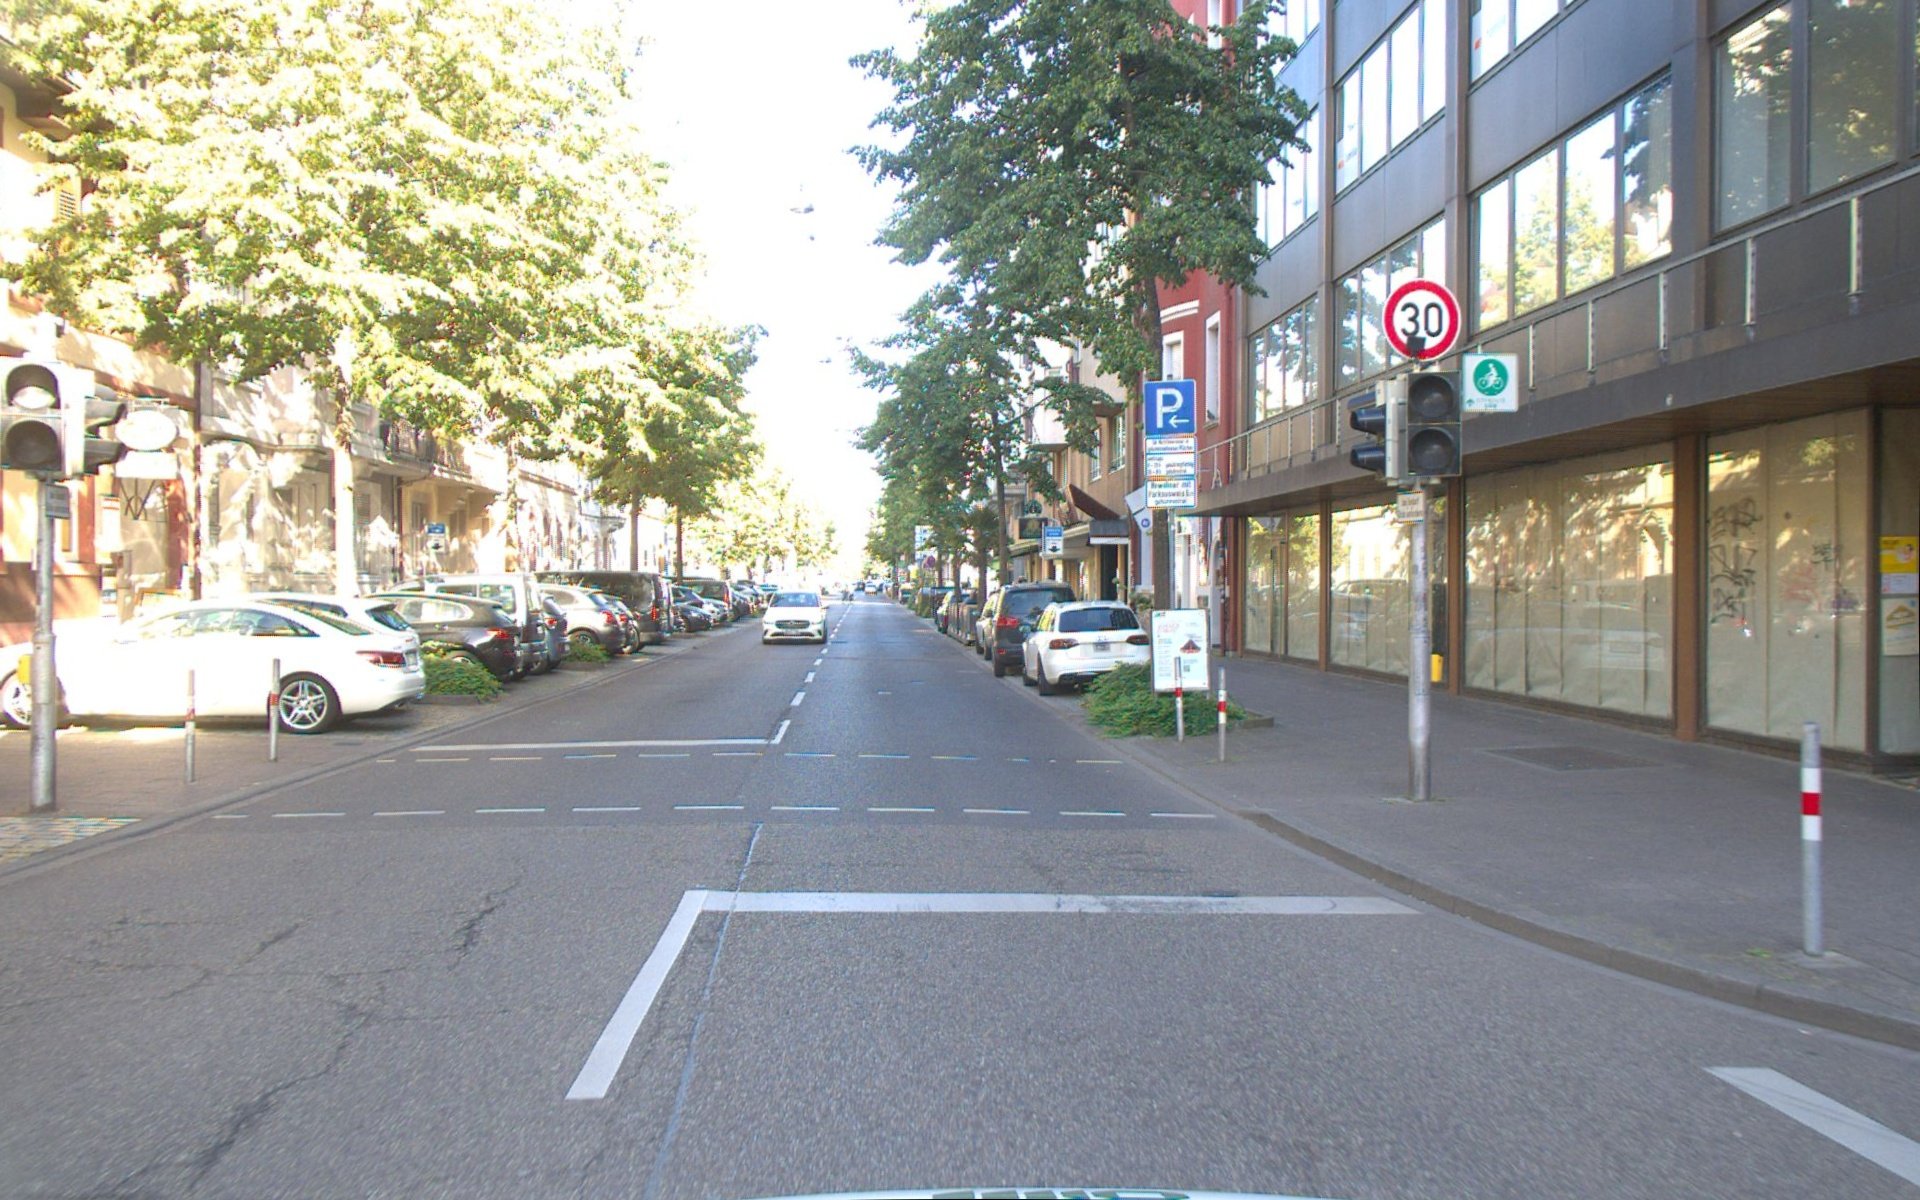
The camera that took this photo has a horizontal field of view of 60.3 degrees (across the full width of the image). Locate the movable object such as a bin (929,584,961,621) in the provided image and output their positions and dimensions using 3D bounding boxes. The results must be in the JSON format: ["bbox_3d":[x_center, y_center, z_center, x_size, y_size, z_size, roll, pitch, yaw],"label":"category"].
[{"bbox_3d":[-0.642,0.100,70.049,1.304,1.569,1.145,-1,0,-3],"label":"movable object such as a bin"}]

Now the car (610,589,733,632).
[{"bbox_3d":[-11.007,0.387,63.343,4.374,1.568,1.916,0,0,0],"label":"car"}]

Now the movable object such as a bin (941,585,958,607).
[{"bbox_3d":[-0.787,-0.314,125.753,1.182,1.656,1.497,-1,0,-5],"label":"movable object such as a bin"}]

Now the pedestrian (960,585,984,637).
[{"bbox_3d":[0.356,0.326,50.448,0.637,1.563,0.979,-1,0,-5],"label":"pedestrian"}]

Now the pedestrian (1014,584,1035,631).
[{"bbox_3d":[2.358,0.270,60.543,0.499,1.725,0.621,-1,0,-40],"label":"pedestrian"}]

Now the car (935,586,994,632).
[{"bbox_3d":[0.115,0.284,59.195,1.786,1.497,4.908,-3,1,-3],"label":"car"}]

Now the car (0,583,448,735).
[{"bbox_3d":[-8.249,0.638,18.314,4.611,1.518,1.996,1,-1,-8],"label":"car"}]

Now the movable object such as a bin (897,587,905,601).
[{"bbox_3d":[-5.159,-0.518,145.184,0.609,1.200,0.711,0,1,-6],"label":"movable object such as a bin"}]

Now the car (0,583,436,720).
[{"bbox_3d":[-9.104,0.620,20.592,4.611,1.518,1.997,1,1,-8],"label":"car"}]

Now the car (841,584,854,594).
[{"bbox_3d":[-17.055,-1.664,250.826,1.767,1.460,4.406,-3,1,-4],"label":"car"}]

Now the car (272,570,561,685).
[{"bbox_3d":[-9.125,0.453,28.020,4.251,1.856,1.929,0,0,-2],"label":"car"}]

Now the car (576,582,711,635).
[{"bbox_3d":[-10.701,0.265,56.131,4.253,1.739,1.915,0,0,-4],"label":"car"}]

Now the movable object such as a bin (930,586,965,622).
[{"bbox_3d":[-0.528,0.148,68.891,1.371,1.479,1.145,-1,1,-4],"label":"movable object such as a bin"}]

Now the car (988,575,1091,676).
[{"bbox_3d":[1.535,0.452,33.462,1.785,1.808,4.931,-3,1,0],"label":"car"}]

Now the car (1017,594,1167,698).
[{"bbox_3d":[2.050,0.668,27.057,1.786,1.427,4.839,-3,1,-3],"label":"car"}]

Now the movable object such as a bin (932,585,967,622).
[{"bbox_3d":[-0.432,0.149,67.711,1.371,1.479,1.145,-1,1,-4],"label":"movable object such as a bin"}]

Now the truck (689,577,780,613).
[{"bbox_3d":[-12.881,-0.293,94.667,4.984,1.972,1.998,-1,1,-4],"label":"truck"}]

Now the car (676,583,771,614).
[{"bbox_3d":[-12.054,-0.066,84.444,4.586,1.546,1.807,0,0,-2],"label":"car"}]

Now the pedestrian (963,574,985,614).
[{"bbox_3d":[0.710,-0.311,83.305,0.906,1.969,0.761,0,0,22],"label":"pedestrian"}]

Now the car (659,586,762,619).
[{"bbox_3d":[-11.491,0.102,76.329,4.553,1.484,1.682,0,0,-4],"label":"car"}]

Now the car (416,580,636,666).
[{"bbox_3d":[-9.186,0.475,35.275,4.255,1.764,1.914,0,0,-6],"label":"car"}]

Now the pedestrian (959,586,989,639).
[{"bbox_3d":[0.428,0.369,49.152,0.733,1.563,0.808,-1,0,11],"label":"pedestrian"}]

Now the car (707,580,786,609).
[{"bbox_3d":[-12.902,-0.329,100.209,4.586,1.723,1.807,0,0,-2],"label":"car"}]

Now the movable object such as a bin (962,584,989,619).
[{"bbox_3d":[0.637,0.041,70.135,1.056,1.456,1.294,-1,1,-3],"label":"movable object such as a bin"}]

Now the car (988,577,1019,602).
[{"bbox_3d":[2.955,-0.743,113.743,1.862,1.677,4.292,-1,1,-2],"label":"car"}]

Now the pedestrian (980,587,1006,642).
[{"bbox_3d":[0.962,0.418,48.067,0.679,1.563,0.776,-1,0,-3],"label":"pedestrian"}]

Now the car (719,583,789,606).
[{"bbox_3d":[-13.721,-0.371,110.547,4.591,1.490,1.805,0,0,-7],"label":"car"}]

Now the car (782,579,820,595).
[{"bbox_3d":[-17.131,-1.382,178.284,3.904,1.724,2.000,0,1,1],"label":"car"}]

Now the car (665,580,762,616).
[{"bbox_3d":[-12.153,-0.117,81.738,4.586,1.742,1.807,0,0,-2],"label":"car"}]

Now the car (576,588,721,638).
[{"bbox_3d":[-10.064,0.407,53.682,4.376,1.568,1.916,0,0,-2],"label":"car"}]

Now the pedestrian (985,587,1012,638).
[{"bbox_3d":[1.188,0.375,50.474,0.696,1.563,0.770,-1,0,11],"label":"pedestrian"}]

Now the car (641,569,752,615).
[{"bbox_3d":[-11.587,-0.361,72.964,4.586,1.984,1.916,0,0,-2],"label":"car"}]

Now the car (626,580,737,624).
[{"bbox_3d":[-11.716,0.085,69.736,4.376,1.803,1.916,0,0,-2],"label":"car"}]

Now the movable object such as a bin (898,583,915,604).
[{"bbox_3d":[-4.139,-0.539,128.108,1.118,1.589,1.460,-1,1,5],"label":"movable object such as a bin"}]

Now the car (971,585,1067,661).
[{"bbox_3d":[1.356,0.491,39.824,1.786,1.624,4.839,-3,1,-3],"label":"car"}]

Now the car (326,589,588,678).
[{"bbox_3d":[-9.263,0.590,30.697,4.250,1.571,1.917,0,0,1],"label":"car"}]

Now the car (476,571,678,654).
[{"bbox_3d":[-9.289,0.294,40.428,4.480,1.960,1.930,0,0,-1],"label":"car"}]

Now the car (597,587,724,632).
[{"bbox_3d":[-10.937,0.341,60.587,4.378,1.568,1.915,0,0,-5],"label":"car"}]

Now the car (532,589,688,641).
[{"bbox_3d":[-10.165,0.423,48.320,4.255,1.464,1.914,0,0,-6],"label":"car"}]

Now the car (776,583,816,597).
[{"bbox_3d":[-16.417,-1.001,165.402,3.909,1.414,1.998,-1,1,-5],"label":"car"}]

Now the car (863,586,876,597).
[{"bbox_3d":[-12.120,-1.191,220.711,1.757,1.436,3.997,0,1,-4],"label":"car"}]

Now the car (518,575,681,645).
[{"bbox_3d":[-9.892,0.278,45.483,4.265,1.866,1.910,0,0,-14],"label":"car"}]

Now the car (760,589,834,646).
[{"bbox_3d":[-4.686,0.471,48.196,1.872,1.571,4.352,0,0,-2],"label":"car"}]

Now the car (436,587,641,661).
[{"bbox_3d":[-9.523,0.523,37.665,4.255,1.623,1.914,0,0,-6],"label":"car"}]

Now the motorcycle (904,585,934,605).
[{"bbox_3d":[-2.934,-0.346,117.836,1.945,1.353,0.908,-1,1,-16],"label":"motorcycle"}]

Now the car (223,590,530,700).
[{"bbox_3d":[-8.792,0.655,25.315,4.267,1.571,1.956,0,0,-15],"label":"car"}]
